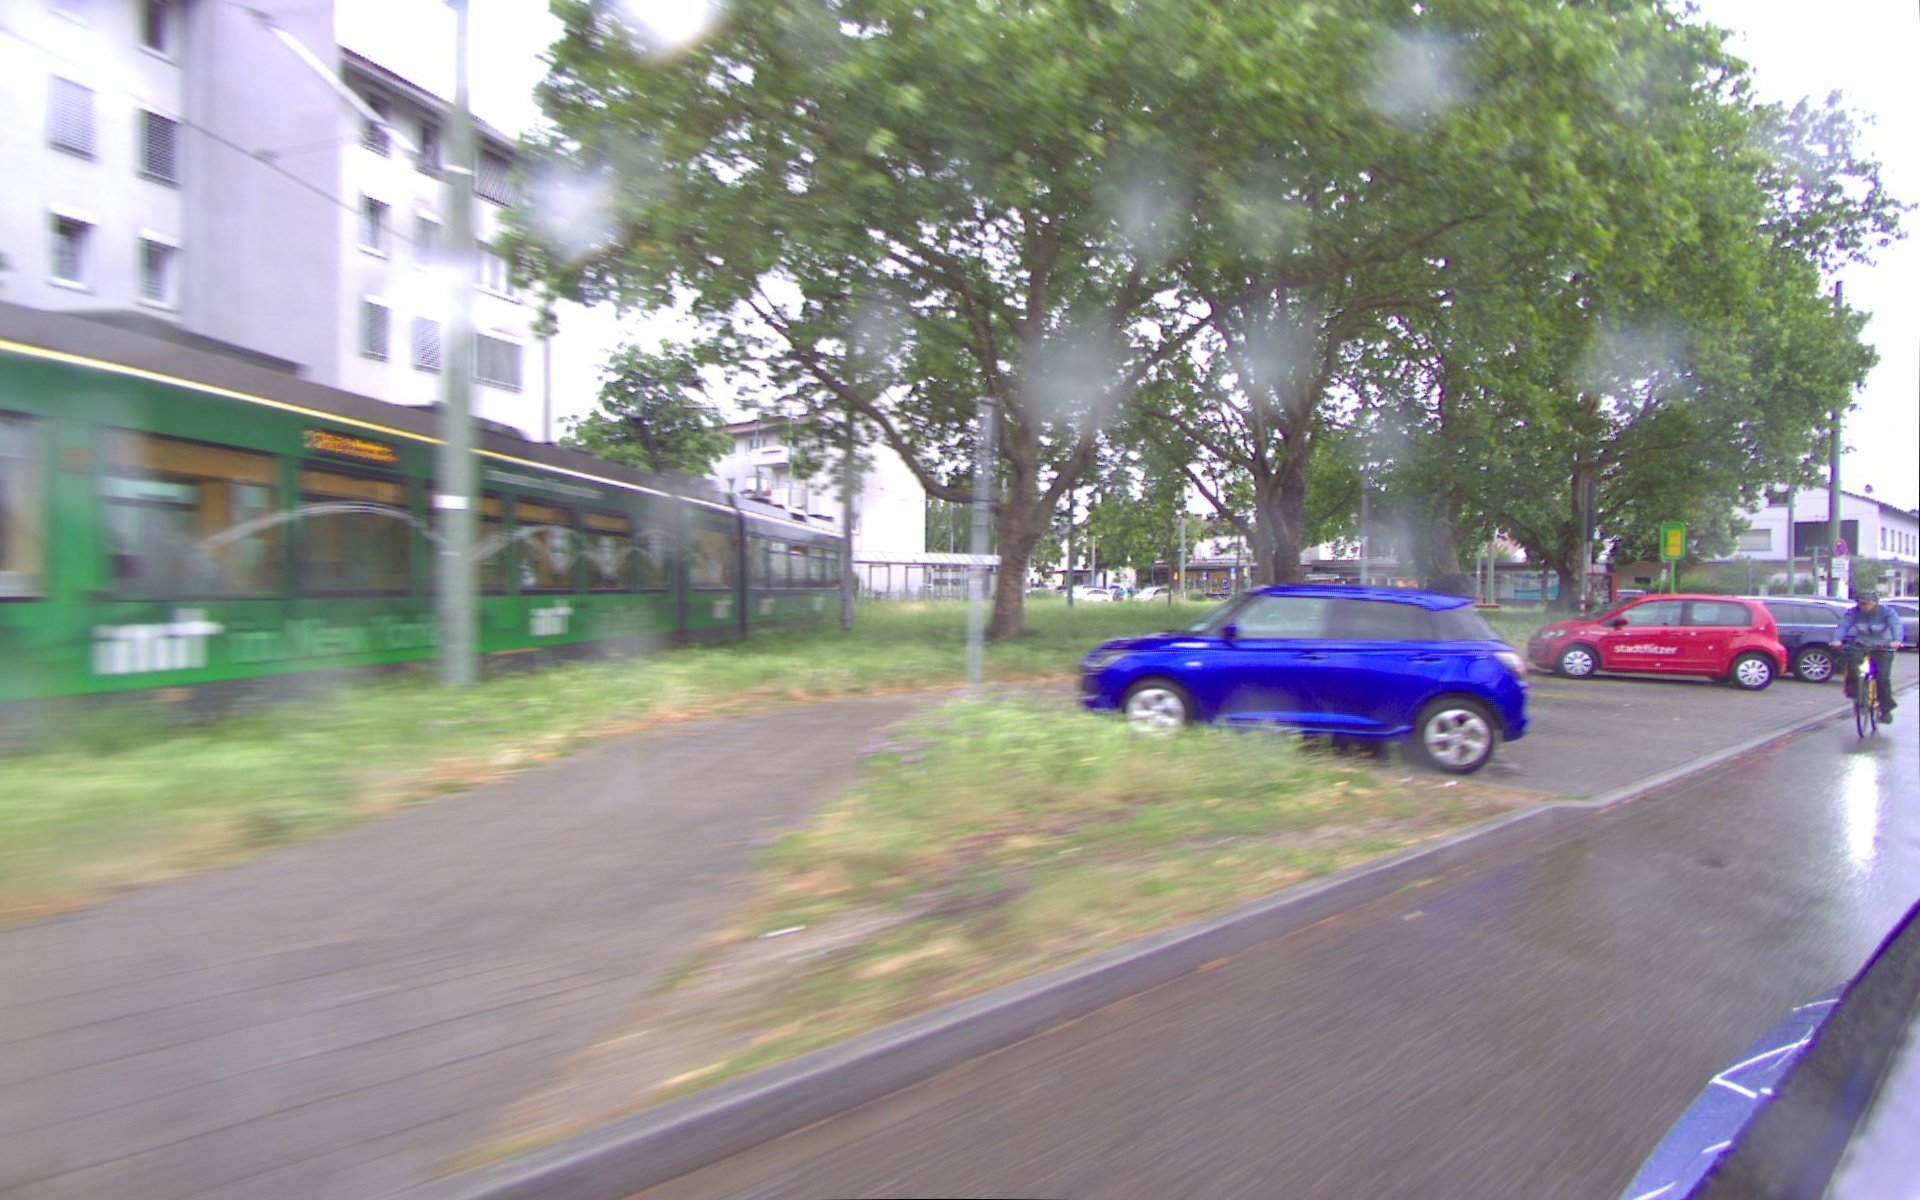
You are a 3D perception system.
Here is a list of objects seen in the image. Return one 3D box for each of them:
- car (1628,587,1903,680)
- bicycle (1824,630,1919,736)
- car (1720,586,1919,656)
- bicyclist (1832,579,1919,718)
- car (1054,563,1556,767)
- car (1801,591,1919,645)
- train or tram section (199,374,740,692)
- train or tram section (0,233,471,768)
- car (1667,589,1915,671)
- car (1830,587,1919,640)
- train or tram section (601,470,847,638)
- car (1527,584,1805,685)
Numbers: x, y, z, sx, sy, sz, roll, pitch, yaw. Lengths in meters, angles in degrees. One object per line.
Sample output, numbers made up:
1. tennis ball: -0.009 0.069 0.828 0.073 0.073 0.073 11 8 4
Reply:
1. car: 14.784 0.556 18.840 3.668 1.502 1.606 2 1 25
2. bicycle: 10.733 0.914 11.785 2.062 1.050 0.710 0 2 -41
3. car: 21.504 0.485 25.332 3.668 1.566 1.606 2 1 25
4. bicyclist: 10.598 0.529 11.658 0.702 1.531 0.710 0 1 -41
5. car: 2.981 0.465 9.280 3.947 1.546 1.710 1 1 18
6. car: 26.794 0.507 29.081 3.668 1.433 1.606 2 1 25
7. train or tram section: -6.450 -0.863 16.044 2.709 3.381 10.337 1 1 6
8. train or tram section: -7.224 -0.694 8.454 2.709 3.381 6.392 1 1 6
9. car: 17.212 0.565 21.191 3.668 1.502 1.606 2 1 25
10. car: 29.291 0.421 30.967 3.668 1.541 1.606 2 1 25
11. train or tram section: -5.402 -1.081 25.709 2.710 3.381 10.334 1 1 7
12. car: 11.677 0.503 17.026 3.538 1.477 1.606 2 1 24
